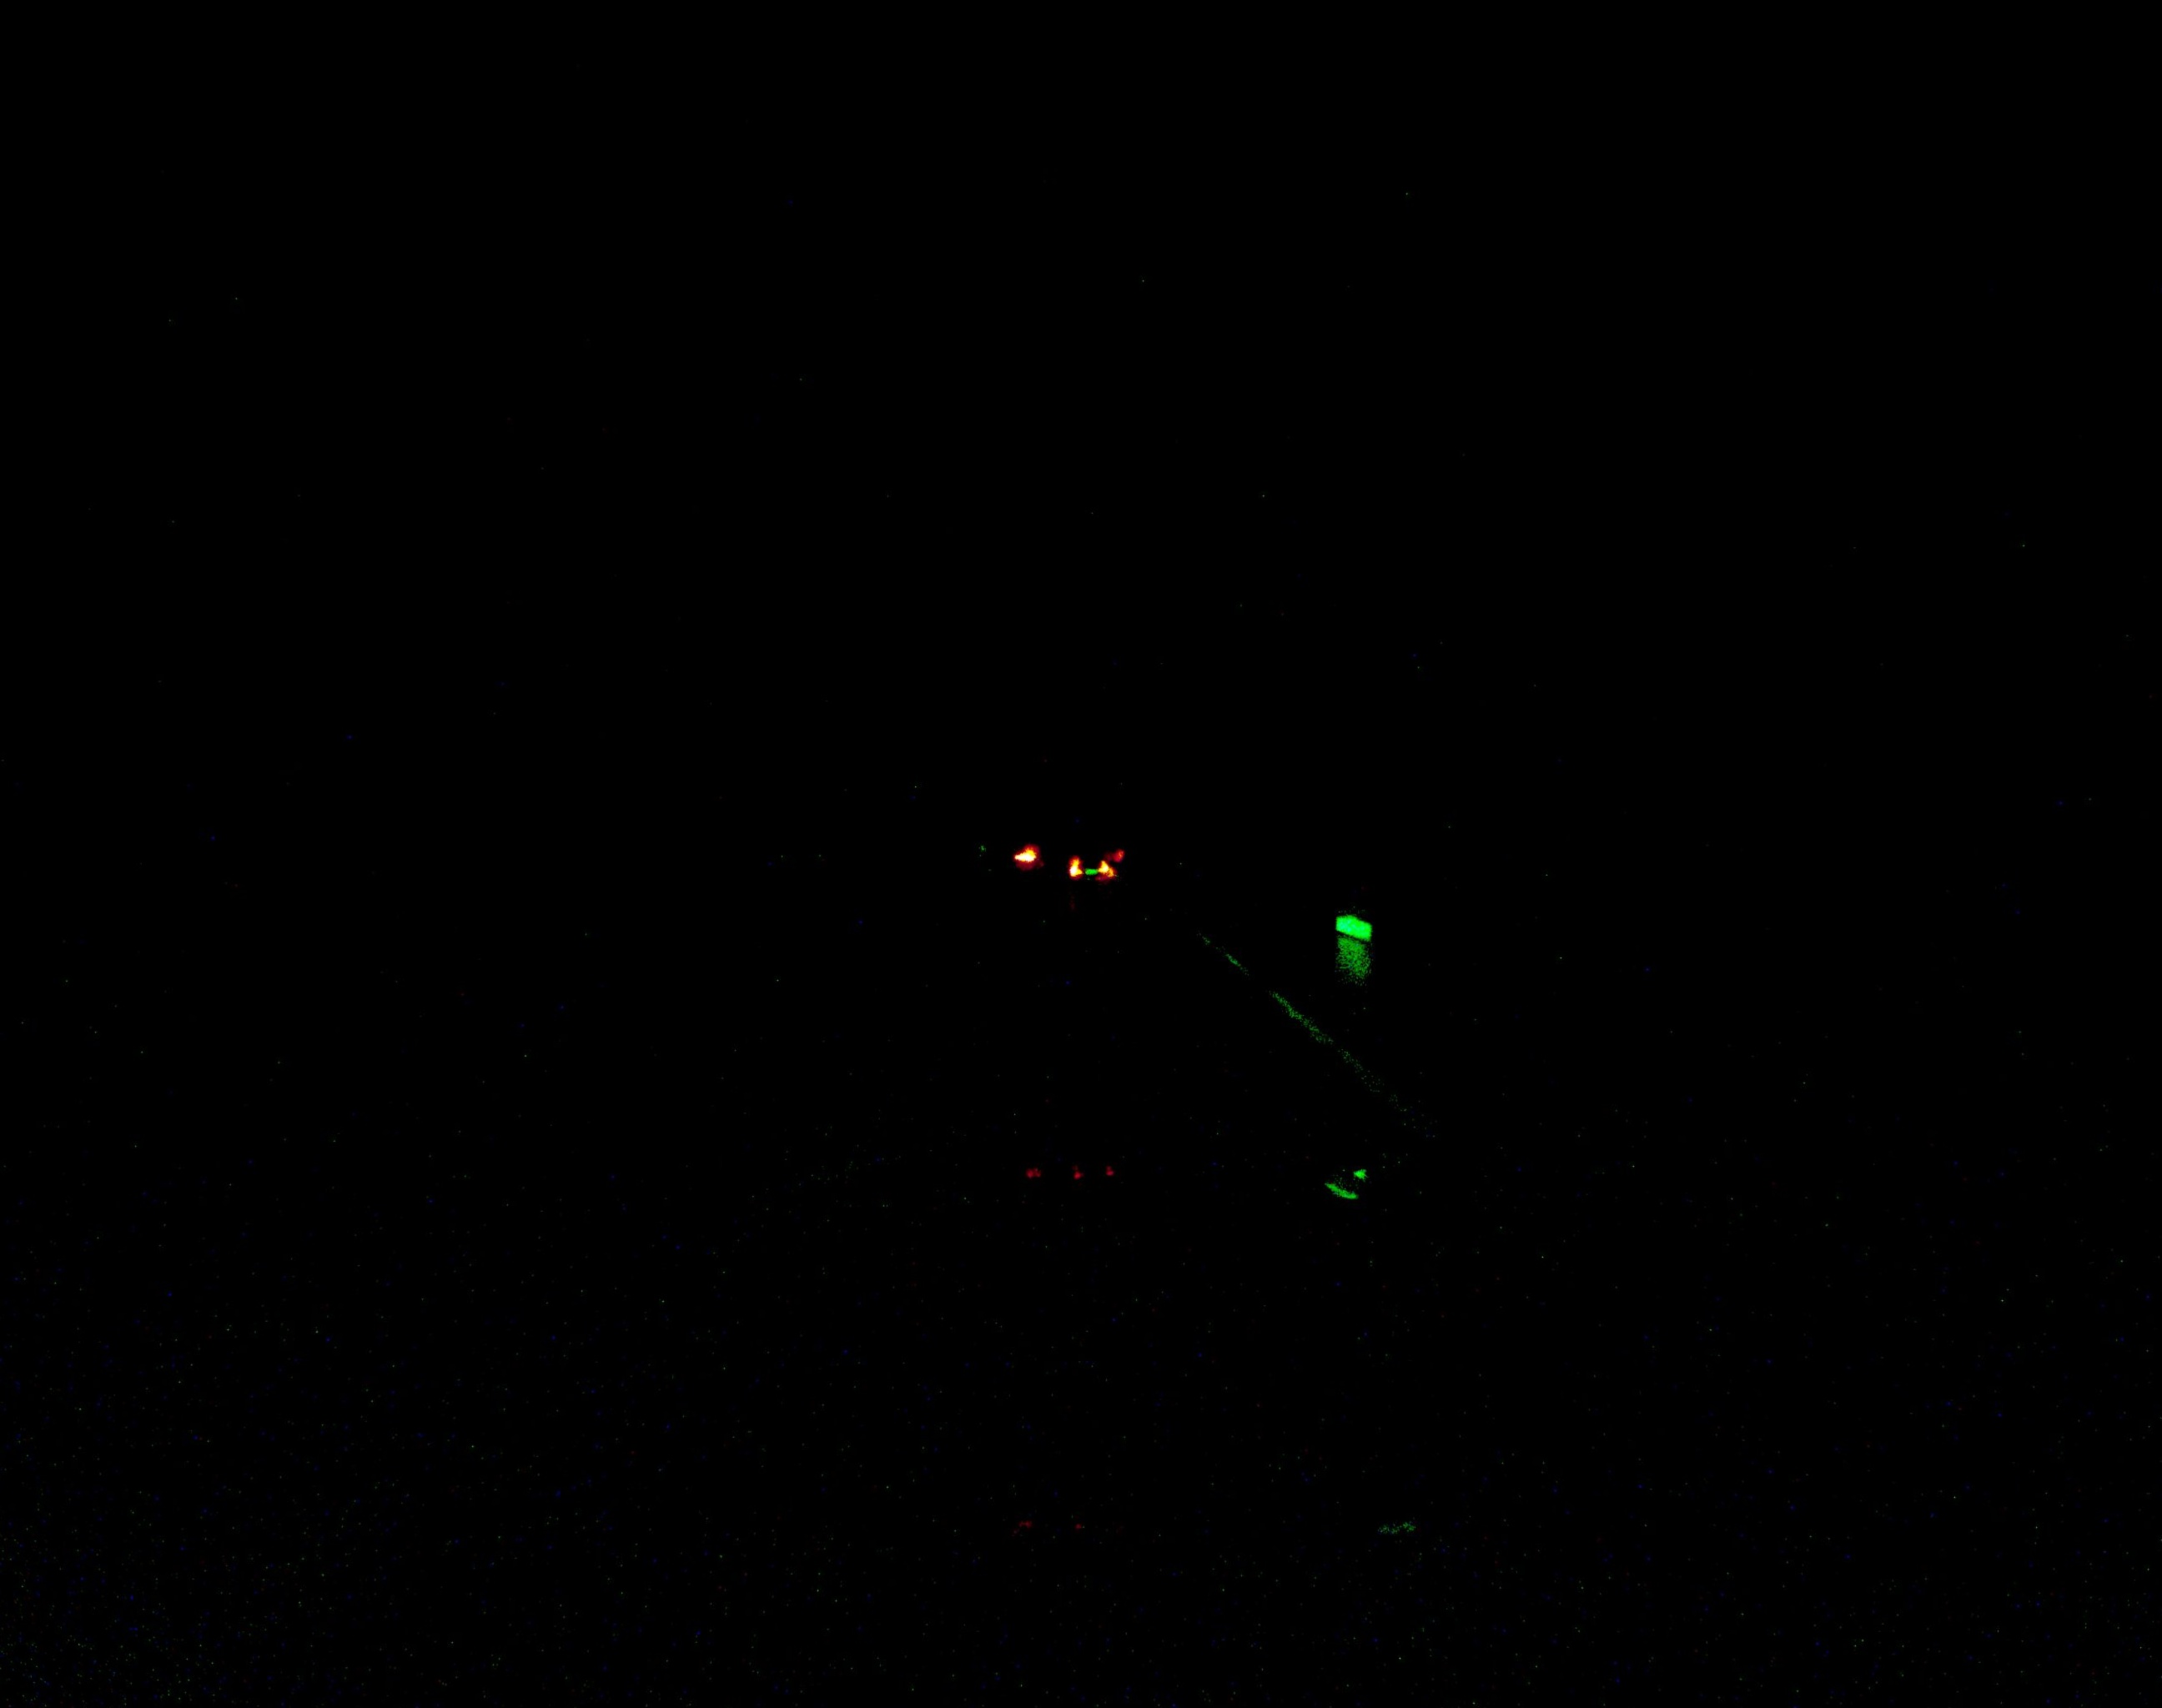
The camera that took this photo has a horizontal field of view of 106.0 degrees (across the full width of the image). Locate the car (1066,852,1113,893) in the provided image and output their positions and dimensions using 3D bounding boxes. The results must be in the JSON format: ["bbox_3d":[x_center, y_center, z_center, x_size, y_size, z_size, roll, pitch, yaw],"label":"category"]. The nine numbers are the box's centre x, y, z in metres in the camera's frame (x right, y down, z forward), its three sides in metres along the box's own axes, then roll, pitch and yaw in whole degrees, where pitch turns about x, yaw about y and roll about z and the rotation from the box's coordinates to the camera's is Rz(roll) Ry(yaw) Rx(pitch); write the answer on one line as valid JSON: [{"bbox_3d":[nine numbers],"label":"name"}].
[{"bbox_3d":[0.371,0.779,37.149,1.987,1.628,4.984,-1,1,0],"label":"car"}]
